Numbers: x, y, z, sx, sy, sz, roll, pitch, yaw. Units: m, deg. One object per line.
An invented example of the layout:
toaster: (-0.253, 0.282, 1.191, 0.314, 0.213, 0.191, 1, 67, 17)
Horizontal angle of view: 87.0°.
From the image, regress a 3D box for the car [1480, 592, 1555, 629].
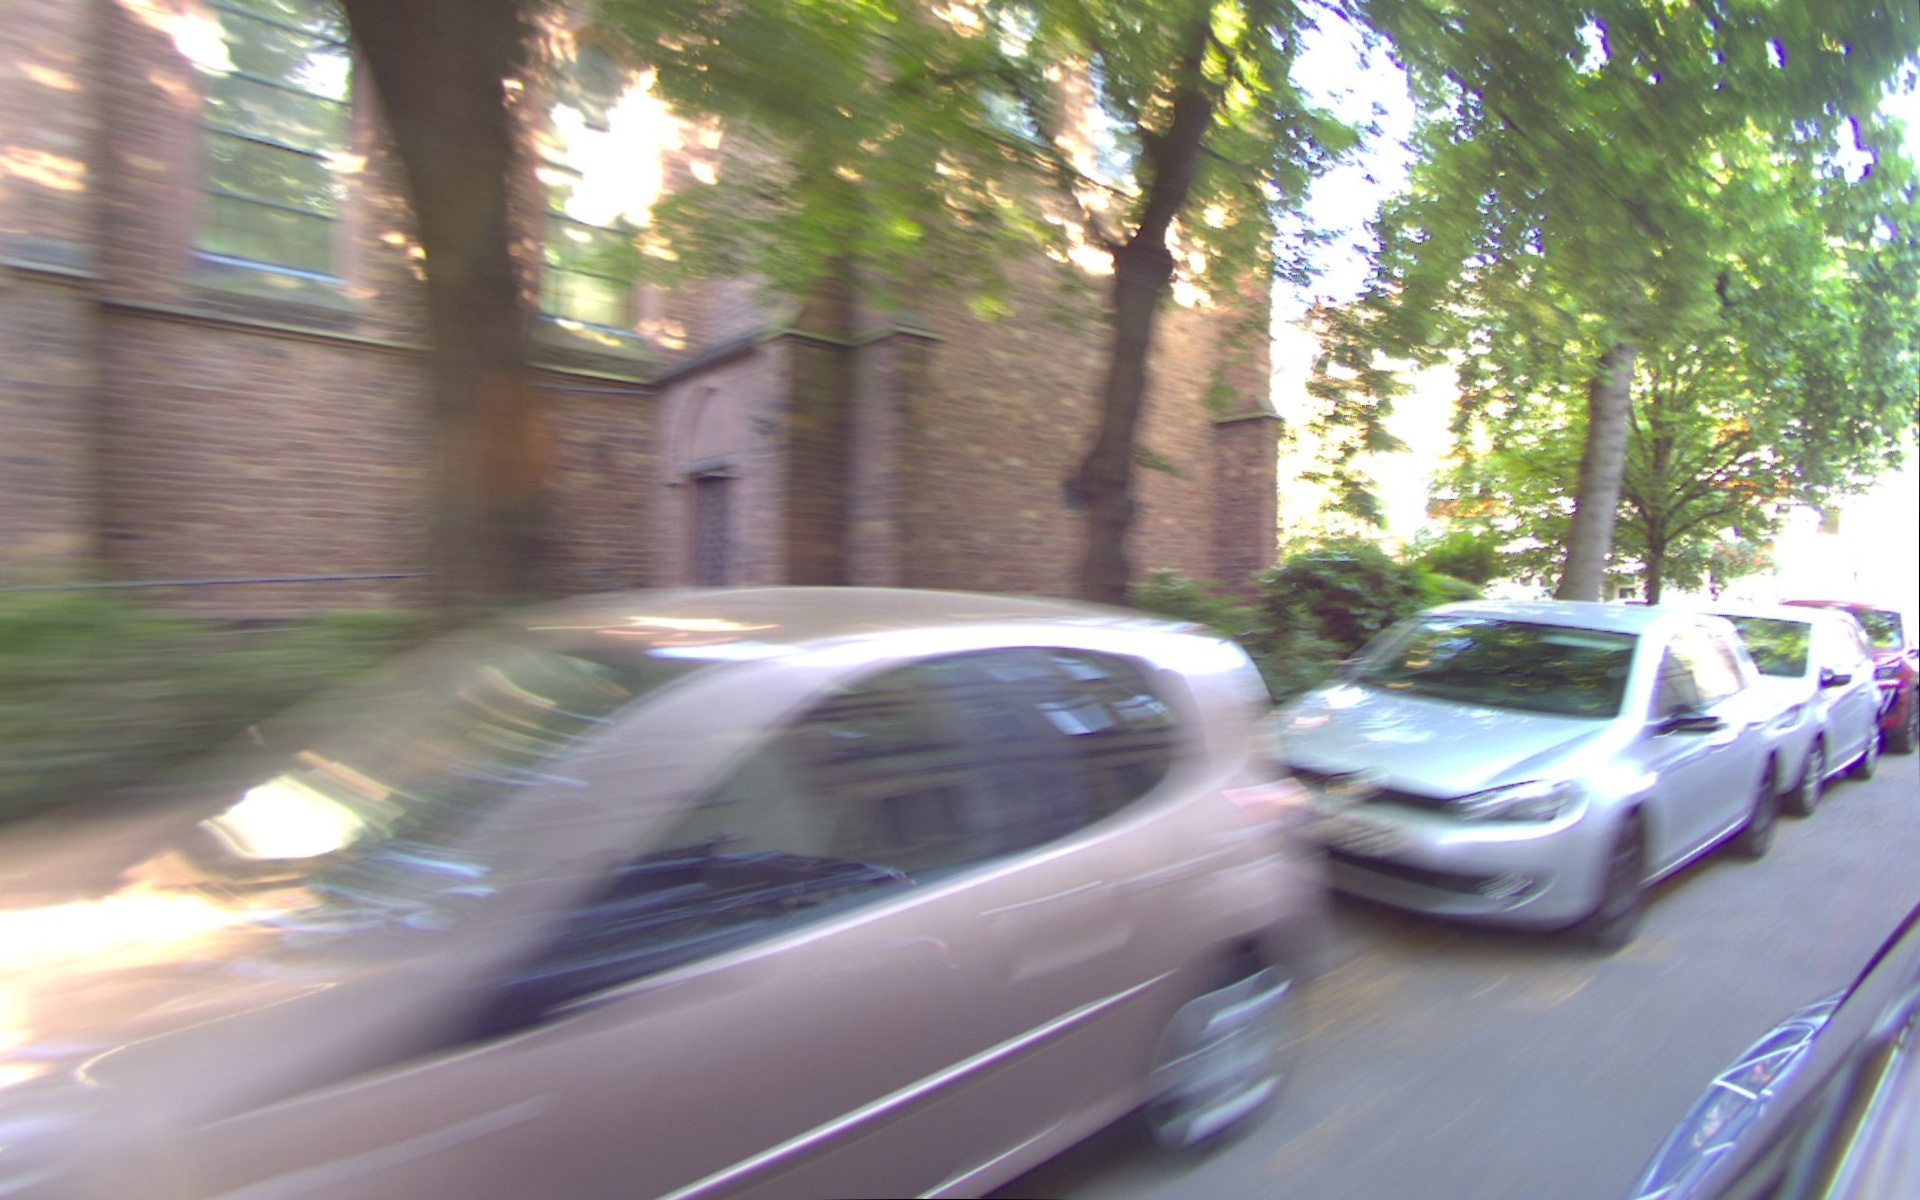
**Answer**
car: (24.151, 0.432, 44.008, 1.756, 1.449, 4.397, -1, 1, 14)

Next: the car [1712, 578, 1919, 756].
car: (10.398, 0.620, 11.699, 4.026, 1.604, 1.669, -1, 6, -39)

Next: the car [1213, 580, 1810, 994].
car: (3.228, 0.665, 5.605, 3.801, 1.488, 1.603, -1, 3, -40)

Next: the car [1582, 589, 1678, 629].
car: (26.299, 0.315, 39.887, 1.756, 1.449, 4.397, -1, 1, 14)

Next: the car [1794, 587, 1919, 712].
car: (13.970, 0.649, 15.148, 3.885, 1.537, 1.667, -1, 6, -43)

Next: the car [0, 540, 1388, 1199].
car: (-0.623, 0.671, 2.502, 3.501, 1.485, 1.604, -1, 6, -40)

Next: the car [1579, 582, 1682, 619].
car: (31.143, -0.021, 47.078, 1.621, 1.577, 3.692, -3, 3, -41)

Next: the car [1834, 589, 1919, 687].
car: (17.625, 0.652, 18.567, 3.988, 1.537, 1.669, -1, 6, -40)

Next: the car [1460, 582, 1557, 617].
car: (27.729, -0.055, 51.239, 1.621, 1.636, 4.033, -3, 3, -41)

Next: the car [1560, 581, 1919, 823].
car: (6.762, 0.665, 8.661, 3.655, 1.523, 1.604, -1, 6, -40)
